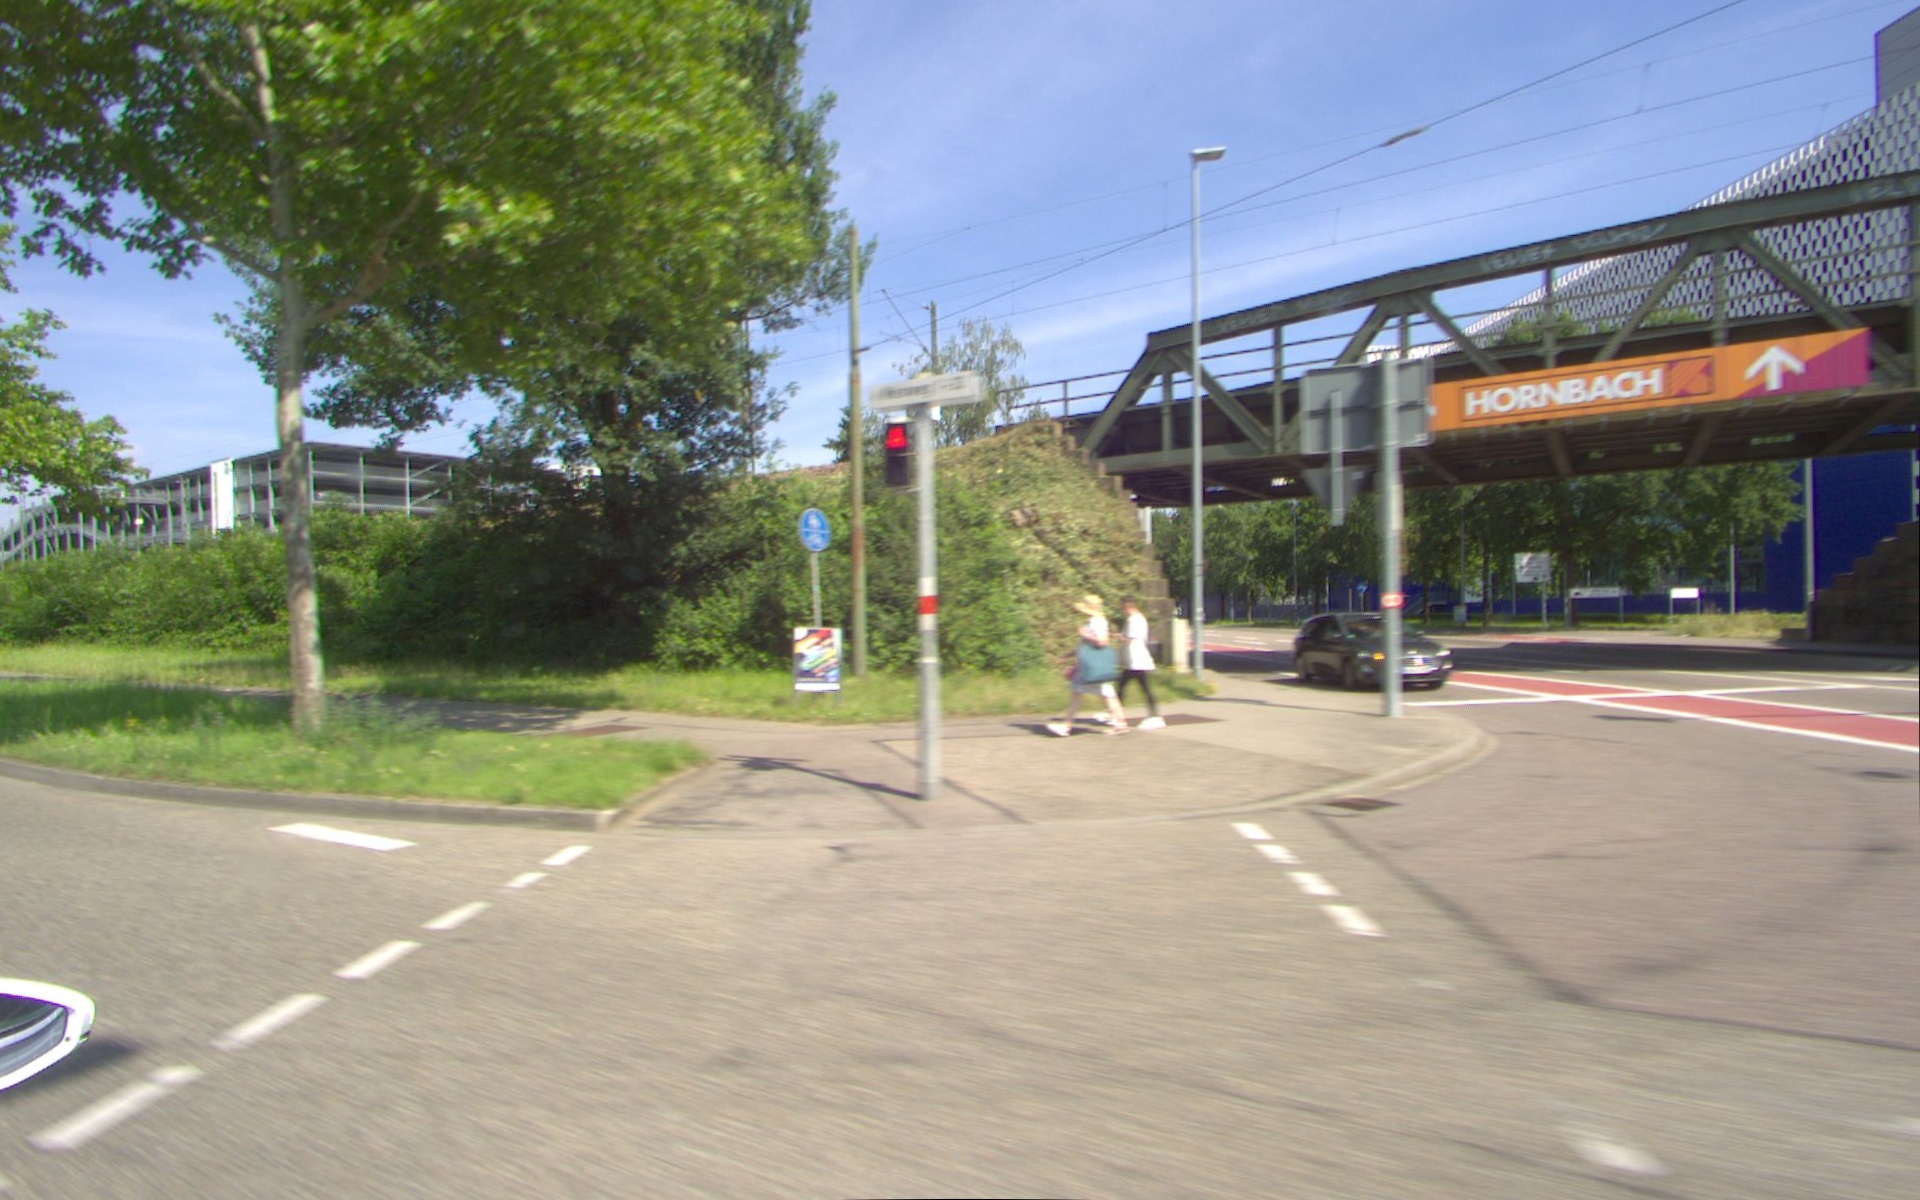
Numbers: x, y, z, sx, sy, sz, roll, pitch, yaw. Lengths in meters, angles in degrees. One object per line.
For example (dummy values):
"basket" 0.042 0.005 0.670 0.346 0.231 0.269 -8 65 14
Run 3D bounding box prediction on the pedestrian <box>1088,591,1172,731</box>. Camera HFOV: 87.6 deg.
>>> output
"pedestrian" 2.037 0.706 11.959 0.766 1.600 0.728 -1 0 32

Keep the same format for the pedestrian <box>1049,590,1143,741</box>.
"pedestrian" 1.551 0.718 11.349 0.766 1.632 0.866 -1 0 32

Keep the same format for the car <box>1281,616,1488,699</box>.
"car" 8.161 1.051 19.783 1.961 1.427 4.502 -1 -1 -3
